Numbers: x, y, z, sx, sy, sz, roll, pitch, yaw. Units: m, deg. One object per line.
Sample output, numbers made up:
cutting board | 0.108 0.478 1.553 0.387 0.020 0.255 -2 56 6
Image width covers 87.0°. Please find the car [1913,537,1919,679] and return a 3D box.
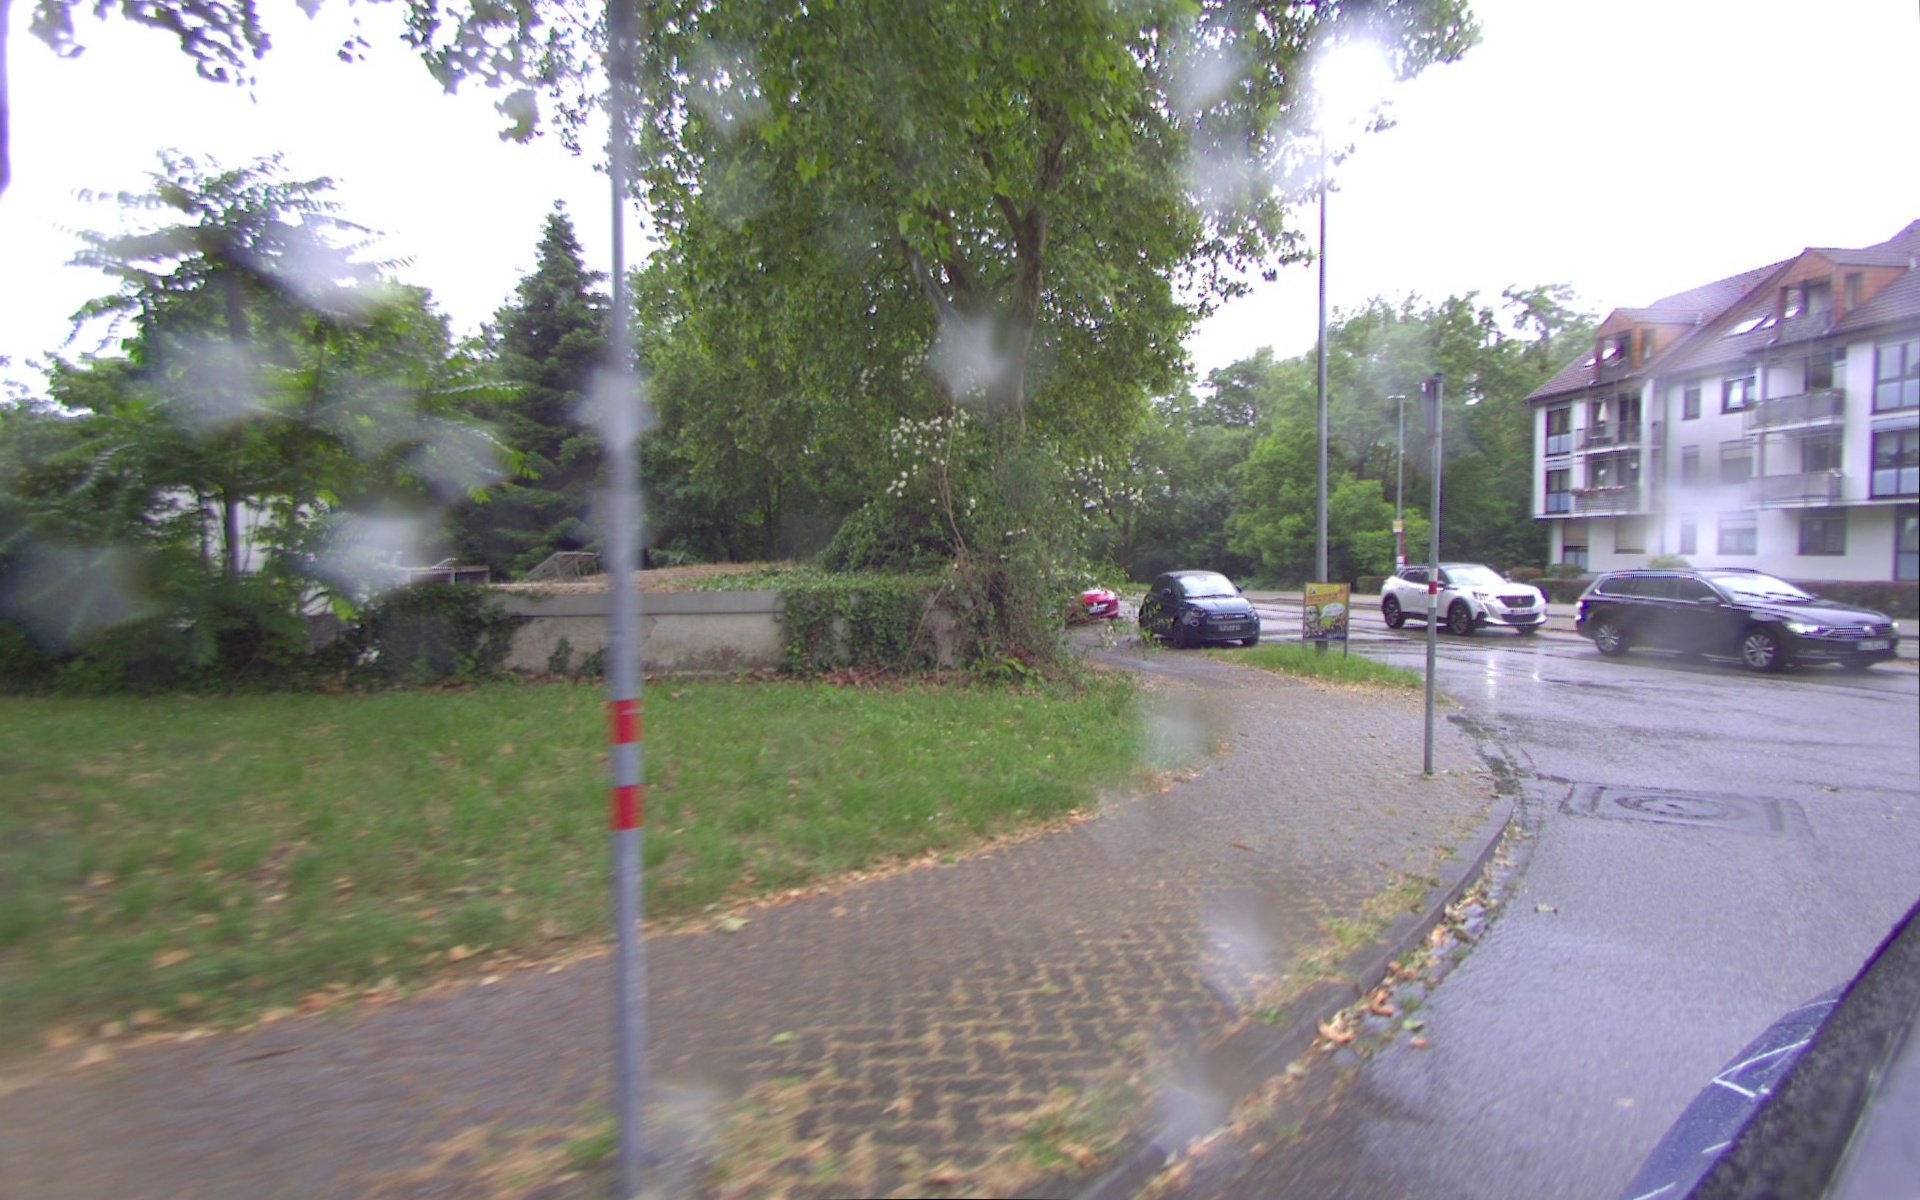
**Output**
car | 12.908 0.115 10.246 1.730 1.732 4.609 -2 2 -9

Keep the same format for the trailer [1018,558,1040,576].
trailer | 10.787 -5.212 158.785 2.752 2.695 6.660 1 3 -2

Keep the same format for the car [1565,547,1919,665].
car | 12.127 0.028 15.927 1.800 1.474 4.667 -4 2 -10

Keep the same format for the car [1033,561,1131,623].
car | 3.626 -0.235 30.819 1.789 1.535 3.749 -8 2 -9

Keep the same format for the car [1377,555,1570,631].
car | 11.483 -0.226 23.014 1.722 1.554 4.375 0 2 -7

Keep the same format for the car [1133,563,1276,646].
car | 5.094 0.023 21.594 1.720 1.509 3.606 -4 3 -7

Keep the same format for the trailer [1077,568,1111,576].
trailer | 18.605 -3.839 140.650 4.244 1.045 2.386 0 3 -5
